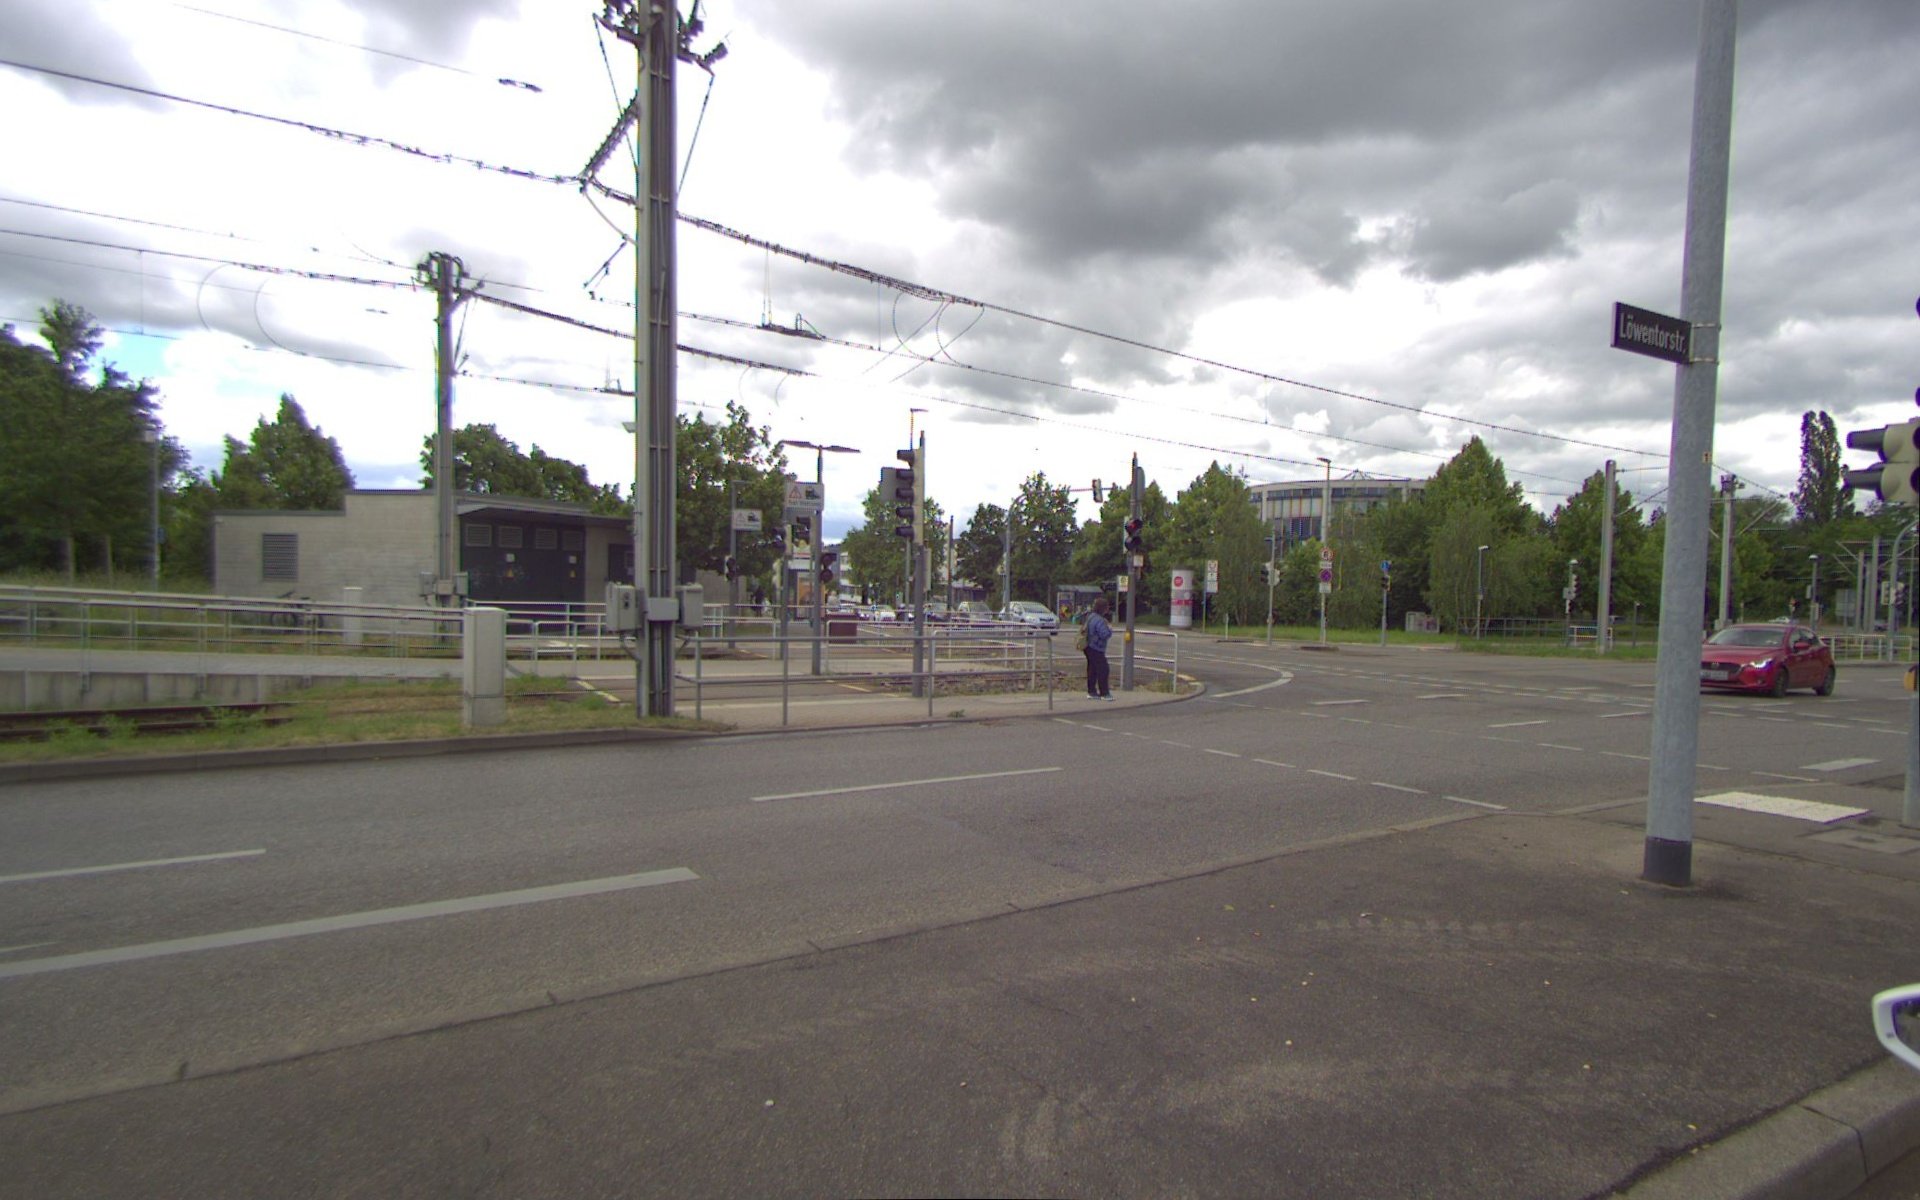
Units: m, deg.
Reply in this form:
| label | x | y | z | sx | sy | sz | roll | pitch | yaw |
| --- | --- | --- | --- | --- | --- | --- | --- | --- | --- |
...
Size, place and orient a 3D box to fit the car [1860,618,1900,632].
| label | x | y | z | sx | sy | sz | roll | pitch | yaw |
| --- | --- | --- | --- | --- | --- | --- | --- | --- | --- |
| car | 115.161 | 3.136 | 125.747 | 1.747 | 1.567 | 4.027 | 1 | 0 | 9 |

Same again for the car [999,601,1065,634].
| label | x | y | z | sx | sy | sz | roll | pitch | yaw |
| --- | --- | --- | --- | --- | --- | --- | --- | --- | --- |
| car | 3.304 | 0.800 | 46.808 | 1.706 | 1.456 | 3.731 | 1 | 0 | -20 |

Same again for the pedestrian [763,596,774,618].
| label | x | y | z | sx | sy | sz | roll | pitch | yaw |
| --- | --- | --- | --- | --- | --- | --- | --- | --- | --- |
| pedestrian | -14.861 | 0.523 | 77.758 | 0.695 | 1.649 | 0.629 | 1 | 0 | -24 |

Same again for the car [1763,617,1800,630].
| label | x | y | z | sx | sy | sz | roll | pitch | yaw |
| --- | --- | --- | --- | --- | --- | --- | --- | --- | --- |
| car | 115.864 | 3.245 | 141.649 | 1.960 | 1.706 | 4.001 | 2 | 0 | 1 |

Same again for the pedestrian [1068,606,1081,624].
| label | x | y | z | sx | sy | sz | roll | pitch | yaw |
| --- | --- | --- | --- | --- | --- | --- | --- | --- | --- |
| pedestrian | 8.298 | 1.079 | 72.911 | 0.652 | 1.321 | 0.780 | 1 | 0 | -16 |

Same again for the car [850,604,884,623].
| label | x | y | z | sx | sy | sz | roll | pitch | yaw |
| --- | --- | --- | --- | --- | --- | --- | --- | --- | --- |
| car | -7.417 | 1.022 | 79.683 | 1.706 | 1.456 | 3.991 | 1 | 0 | -20 |

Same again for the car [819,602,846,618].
| label | x | y | z | sx | sy | sz | roll | pitch | yaw |
| --- | --- | --- | --- | --- | --- | --- | --- | --- | --- |
| car | -11.930 | 0.960 | 94.071 | 1.706 | 1.456 | 3.731 | 1 | 0 | -20 |

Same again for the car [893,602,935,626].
| label | x | y | z | sx | sy | sz | roll | pitch | yaw |
| --- | --- | --- | --- | --- | --- | --- | --- | --- | --- |
| car | -3.002 | 0.888 | 64.930 | 1.706 | 1.456 | 3.731 | 1 | 0 | -20 |

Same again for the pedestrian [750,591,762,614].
| label | x | y | z | sx | sy | sz | roll | pitch | yaw |
| --- | --- | --- | --- | --- | --- | --- | --- | --- | --- |
| pedestrian | -15.015 | 0.201 | 73.889 | 0.771 | 1.649 | 0.660 | 1 | 0 | -22 |

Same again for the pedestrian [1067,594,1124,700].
| label | x | y | z | sx | sy | sz | roll | pitch | yaw |
| --- | --- | --- | --- | --- | --- | --- | --- | --- | --- |
| pedestrian | 2.085 | 0.702 | 15.438 | 0.701 | 1.584 | 0.533 | 1 | 1 | -44 |

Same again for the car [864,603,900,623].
| label | x | y | z | sx | sy | sz | roll | pitch | yaw |
| --- | --- | --- | --- | --- | --- | --- | --- | --- | --- |
| car | -5.811 | 0.962 | 74.780 | 1.706 | 1.456 | 3.731 | 1 | 0 | -20 |

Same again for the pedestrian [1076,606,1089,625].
| label | x | y | z | sx | sy | sz | roll | pitch | yaw |
| --- | --- | --- | --- | --- | --- | --- | --- | --- | --- |
| pedestrian | 8.761 | 1.081 | 71.595 | 0.652 | 1.322 | 0.780 | 1 | 0 | -16 |

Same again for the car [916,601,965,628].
| label | x | y | z | sx | sy | sz | roll | pitch | yaw |
| --- | --- | --- | --- | --- | --- | --- | --- | --- | --- |
| car | -1.148 | 0.816 | 58.164 | 1.706 | 1.456 | 3.731 | 1 | 0 | -20 |

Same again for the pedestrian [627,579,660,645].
| label | x | y | z | sx | sy | sz | roll | pitch | yaw |
| --- | --- | --- | --- | --- | --- | --- | --- | --- | --- |
| pedestrian | -7.998 | 0.308 | 25.359 | 0.696 | 1.628 | 0.654 | 1 | 0 | -24 |

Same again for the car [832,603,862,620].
| label | x | y | z | sx | sy | sz | roll | pitch | yaw |
| --- | --- | --- | --- | --- | --- | --- | --- | --- | --- |
| car | -9.767 | 0.985 | 86.714 | 1.706 | 1.456 | 3.731 | 1 | 0 | -20 |

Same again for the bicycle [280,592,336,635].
| label | x | y | z | sx | sy | sz | roll | pitch | yaw |
| --- | --- | --- | --- | --- | --- | --- | --- | --- | --- |
| bicycle | -17.324 | 0.346 | 26.676 | 1.452 | 1.101 | 0.492 | 1 | 0 | 22 |

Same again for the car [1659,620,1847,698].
| label | x | y | z | sx | sy | sz | roll | pitch | yaw |
| --- | --- | --- | --- | --- | --- | --- | --- | --- | --- |
| car | 16.678 | 1.179 | 21.068 | 4.377 | 1.462 | 1.771 | 1 | -1 | -33 |

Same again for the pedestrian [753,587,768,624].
| label | x | y | z | sx | sy | sz | roll | pitch | yaw |
| --- | --- | --- | --- | --- | --- | --- | --- | --- | --- |
| pedestrian | -10.974 | 0.288 | 55.201 | 0.738 | 1.993 | 0.795 | 1 | 0 | -9 |

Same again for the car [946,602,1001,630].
| label | x | y | z | sx | sy | sz | roll | pitch | yaw |
| --- | --- | --- | --- | --- | --- | --- | --- | --- | --- |
| car | 0.692 | 0.843 | 53.668 | 1.706 | 1.456 | 3.731 | 1 | 0 | -20 |
